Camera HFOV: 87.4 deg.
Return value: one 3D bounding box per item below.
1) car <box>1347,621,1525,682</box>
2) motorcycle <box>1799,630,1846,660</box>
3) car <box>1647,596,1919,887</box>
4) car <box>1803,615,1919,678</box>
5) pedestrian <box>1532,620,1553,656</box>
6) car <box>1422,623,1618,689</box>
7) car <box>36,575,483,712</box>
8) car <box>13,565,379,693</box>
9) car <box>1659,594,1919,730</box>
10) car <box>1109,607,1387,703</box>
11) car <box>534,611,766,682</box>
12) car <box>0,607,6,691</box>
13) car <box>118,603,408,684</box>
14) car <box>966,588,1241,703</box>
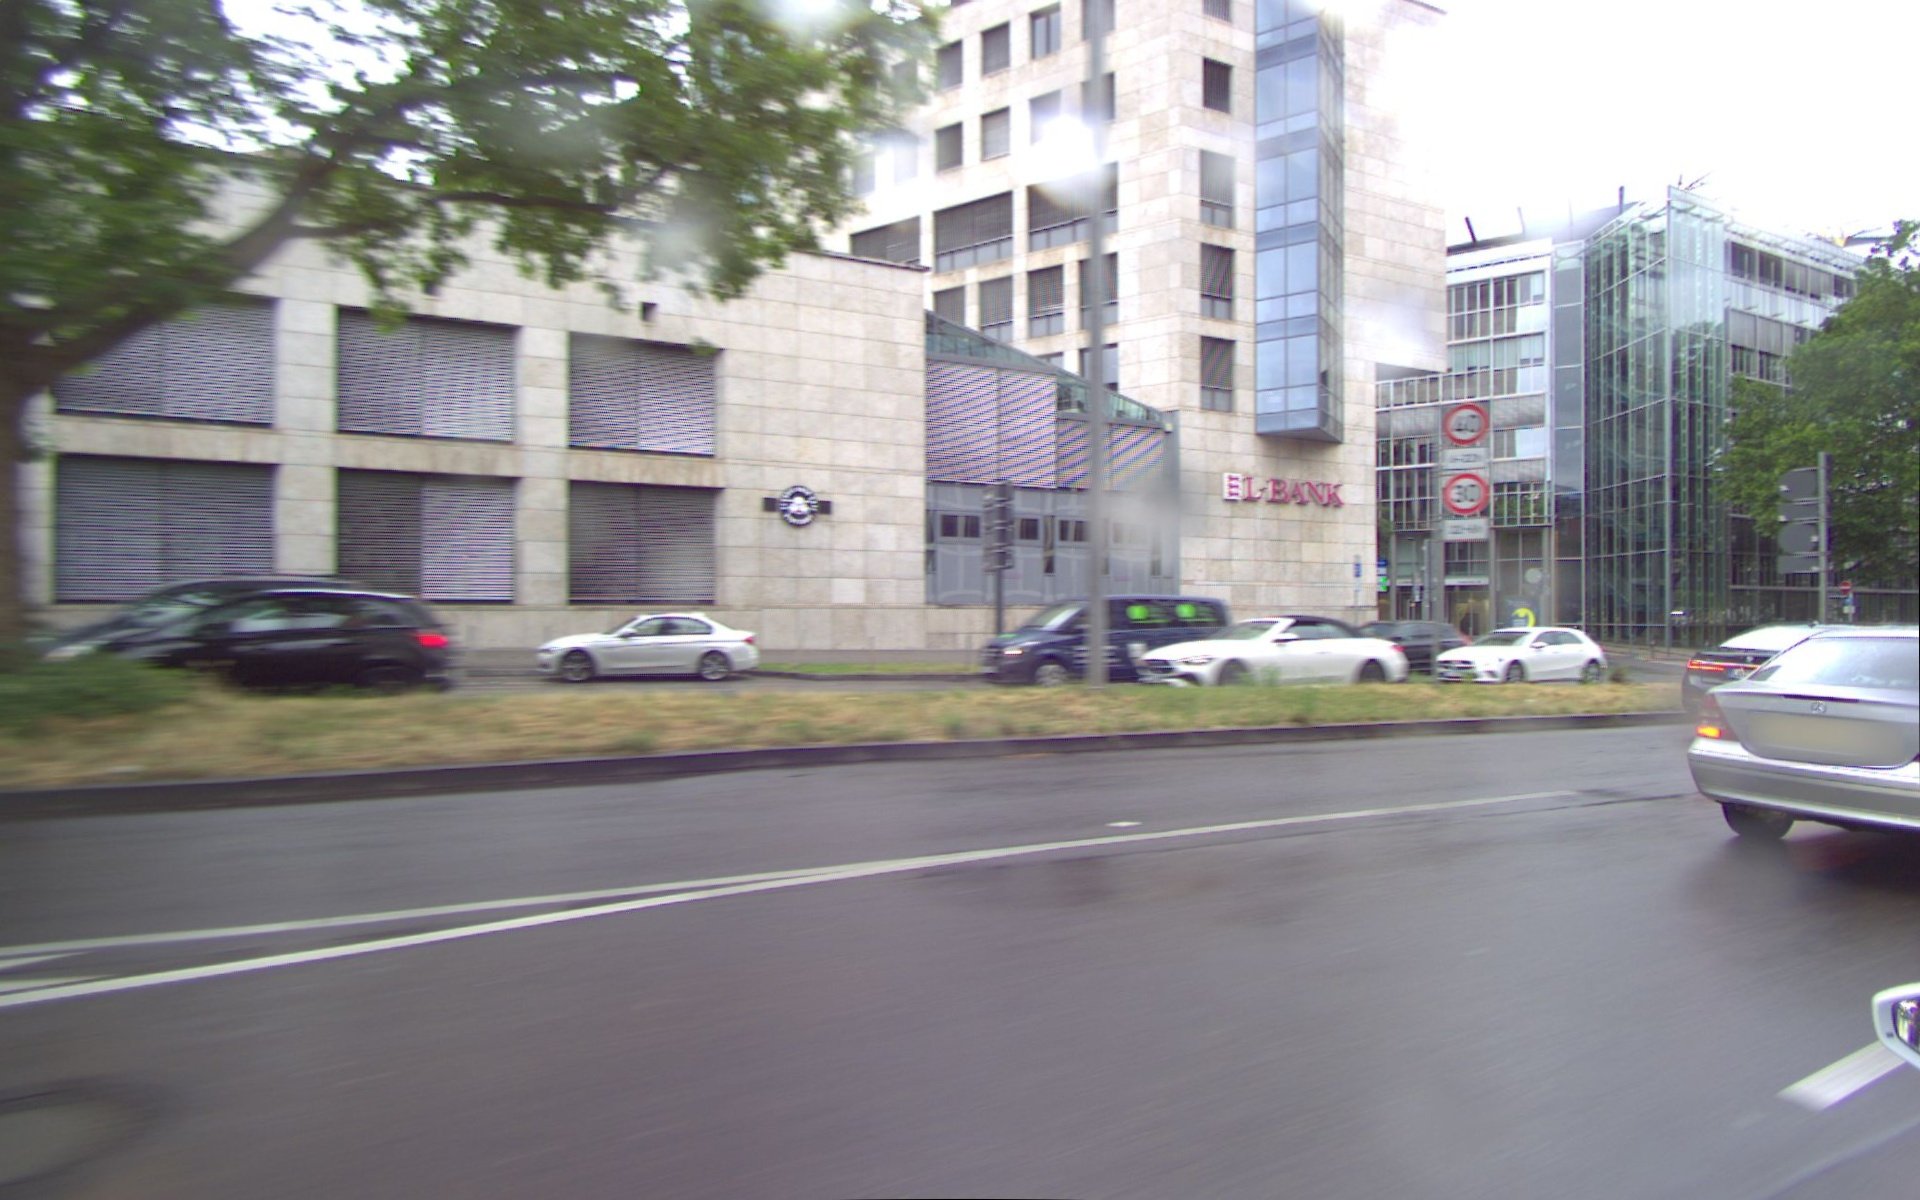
[{"bbox_3d":[12.908,1.401,27.233,4.572,1.552,1.724,2,-1,-22],"label":"car"},{"bbox_3d":[29.531,1.538,34.381,1.377,0.983,0.692,1,0,-24],"label":"motorcycle"},{"bbox_3d":[6.680,0.828,6.604,4.304,1.498,1.667,3,-1,-26],"label":"car"},{"bbox_3d":[23.150,1.160,24.921,4.520,1.456,1.695,2,-1,-25],"label":"car"},{"bbox_3d":[26.144,1.706,45.097,0.659,1.591,0.817,0,0,43],"label":"pedestrian"},{"bbox_3d":[13.262,1.324,23.795,4.331,1.451,1.724,2,-1,-22],"label":"car"},{"bbox_3d":[-7.821,0.513,11.692,3.883,1.382,1.745,2,-1,-20],"label":"car"},{"bbox_3d":[-11.005,0.448,14.852,4.050,1.661,1.819,2,-2,-34],"label":"car"},{"bbox_3d":[11.471,0.889,13.009,4.815,1.497,1.867,4,-6,-26],"label":"car"},{"bbox_3d":[4.833,0.912,16.878,4.250,1.461,1.857,2,-1,-22],"label":"car"},{"bbox_3d":[-6.698,1.021,21.886,4.635,1.434,1.745,2,-1,-21],"label":"car"},{"bbox_3d":[-17.420,0.734,15.055,4.110,1.382,1.745,2,-1,-20],"label":"car"},{"bbox_3d":[-13.251,0.848,19.416,4.228,1.434,1.745,2,-1,-20],"label":"car"},{"bbox_3d":[2.792,0.887,19.466,5.030,2.028,1.827,2,-1,-22],"label":"car"}]
